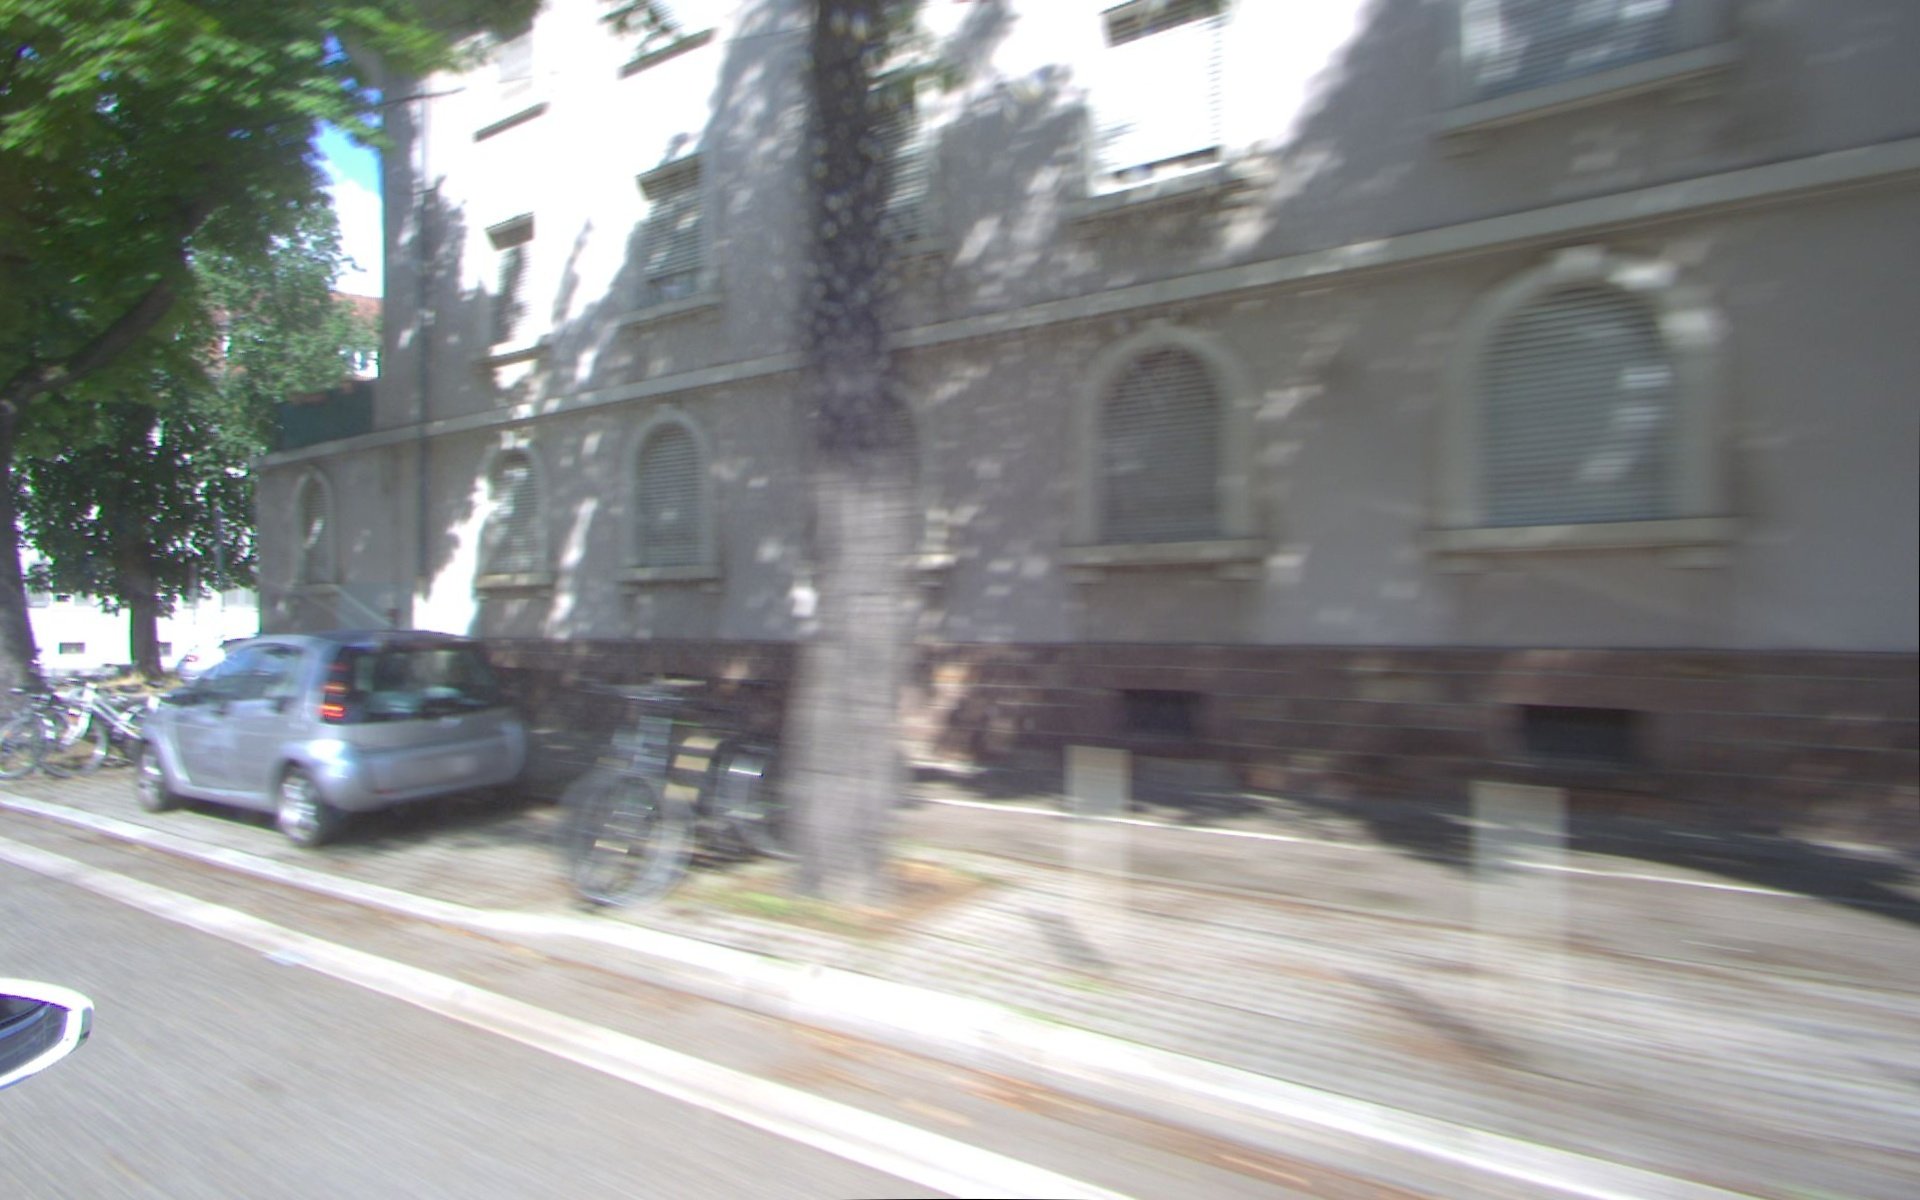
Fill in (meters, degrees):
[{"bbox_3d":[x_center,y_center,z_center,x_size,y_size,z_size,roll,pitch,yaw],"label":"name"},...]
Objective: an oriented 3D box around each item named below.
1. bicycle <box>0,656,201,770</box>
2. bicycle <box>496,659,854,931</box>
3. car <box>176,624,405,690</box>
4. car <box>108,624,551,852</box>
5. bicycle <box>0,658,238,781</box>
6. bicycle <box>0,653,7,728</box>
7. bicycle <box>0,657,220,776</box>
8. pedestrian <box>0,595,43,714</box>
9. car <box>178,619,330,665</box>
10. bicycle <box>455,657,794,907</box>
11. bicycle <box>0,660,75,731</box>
[{"bbox_3d":[-9.239,1.157,10.596,0.396,1.086,1.900,0,-2,32],"label":"bicycle"},{"bbox_3d":[-1.497,0.968,5.587,0.507,1.191,1.926,-1,-1,43],"label":"bicycle"},{"bbox_3d":[-16.220,1.365,24.561,4.511,1.494,1.859,1,-2,-31],"label":"car"},{"bbox_3d":[-5.277,0.950,8.280,3.712,1.449,1.662,-1,1,32],"label":"car"},{"bbox_3d":[-8.499,1.155,10.153,0.396,1.086,1.900,0,-2,32],"label":"bicycle"},{"bbox_3d":[-13.281,1.196,12.863,0.255,0.996,1.488,-1,-1,34],"label":"bicycle"},{"bbox_3d":[-8.850,1.154,10.363,0.396,1.086,1.900,0,-2,32],"label":"bicycle"},{"bbox_3d":[-15.280,0.871,16.067,0.866,1.859,0.609,-2,-1,30],"label":"pedestrian"},{"bbox_3d":[-23.314,1.386,33.247,3.943,1.428,1.644,1,-2,-30],"label":"car"},{"bbox_3d":[-1.905,0.971,5.939,0.507,1.191,1.883,-1,-1,43],"label":"bicycle"},{"bbox_3d":[-12.645,1.276,13.577,1.743,0.912,0.258,-1,0,24],"label":"bicycle"}]
